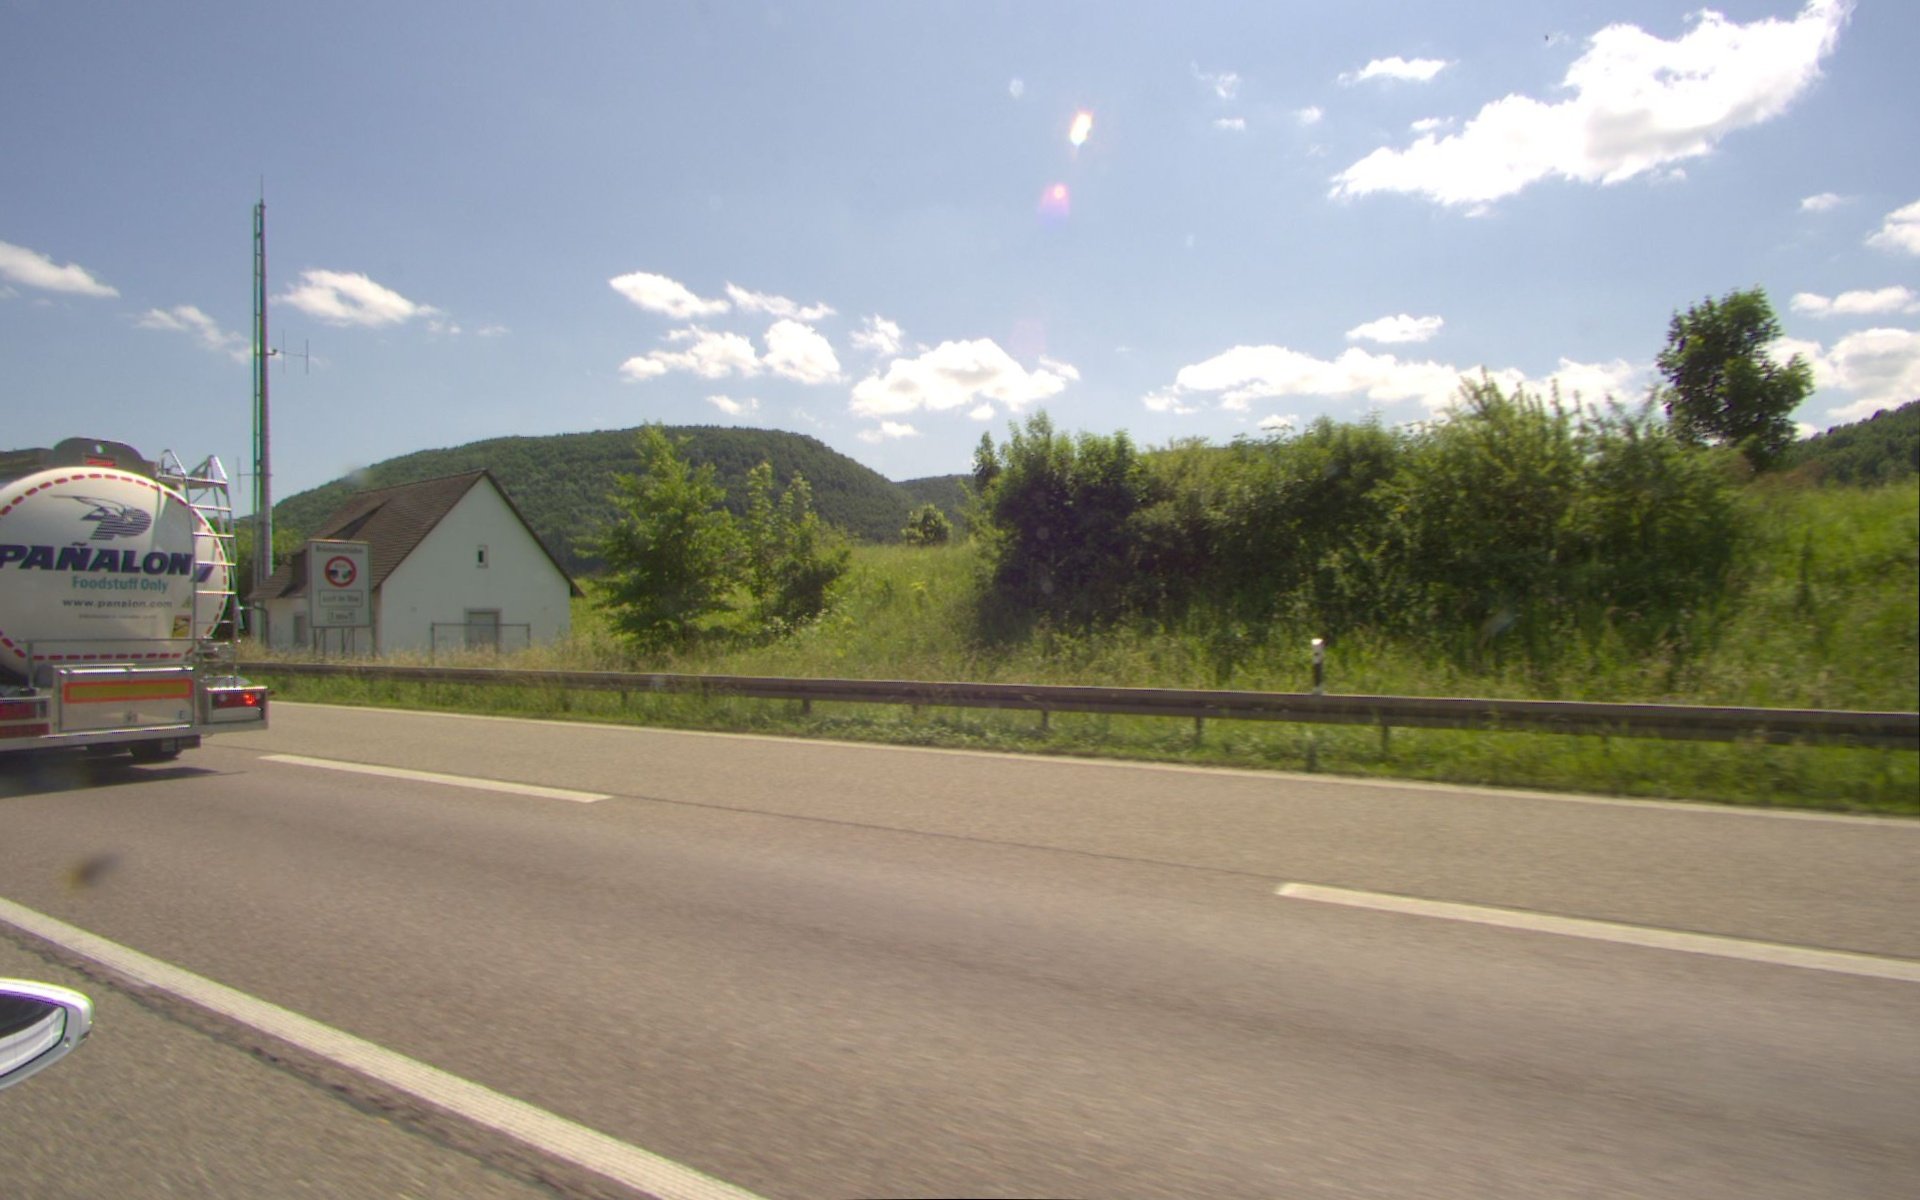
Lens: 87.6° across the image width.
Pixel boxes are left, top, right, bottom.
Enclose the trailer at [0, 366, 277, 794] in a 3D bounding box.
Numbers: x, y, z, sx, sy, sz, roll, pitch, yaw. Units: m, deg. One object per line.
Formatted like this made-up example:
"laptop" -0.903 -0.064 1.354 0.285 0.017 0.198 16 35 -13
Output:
"trailer" -12.986 -0.062 12.720 11.718 3.783 2.534 -1 -1 31
